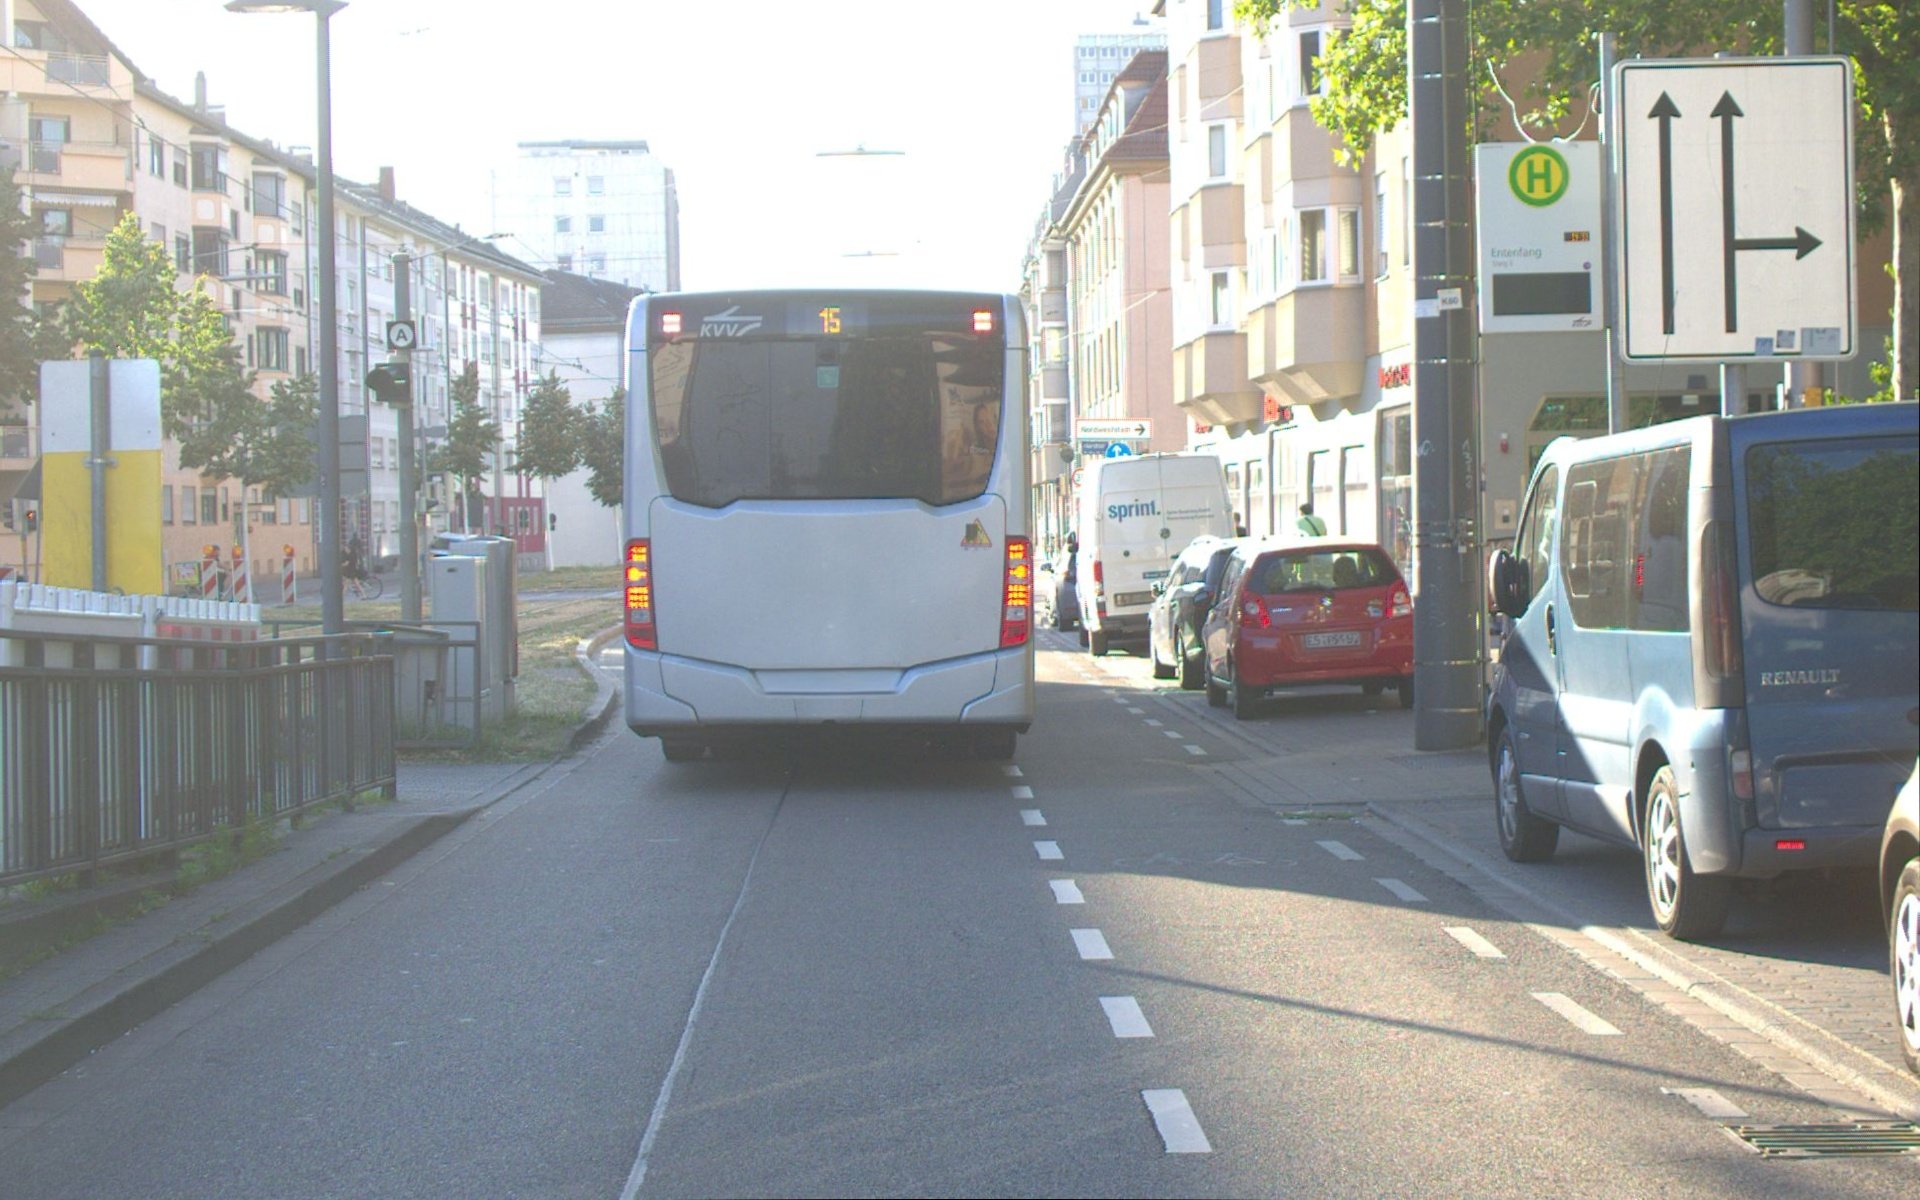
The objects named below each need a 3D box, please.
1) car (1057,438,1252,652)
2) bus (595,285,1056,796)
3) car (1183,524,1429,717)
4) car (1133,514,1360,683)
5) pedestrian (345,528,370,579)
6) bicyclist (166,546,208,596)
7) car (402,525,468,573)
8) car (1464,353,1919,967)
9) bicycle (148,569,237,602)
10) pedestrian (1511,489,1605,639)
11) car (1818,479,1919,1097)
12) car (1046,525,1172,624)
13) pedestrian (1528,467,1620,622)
[{"bbox_3d":[2.540,-0.750,46.277,2.017,2.542,5.785,-5,1,-1],"label":"car"},{"bbox_3d":[-0.864,-0.447,24.985,2.738,3.045,8.854,0,1,-1],"label":"bus"},{"bbox_3d":[2.936,0.130,29.834,1.569,1.489,3.626,-3,1,-2],"label":"car"},{"bbox_3d":[2.897,-0.059,35.703,1.696,1.525,4.653,-4,1,-2],"label":"car"},{"bbox_3d":[-24.067,-1.846,137.329,0.887,2.007,0.789,-1,1,-7],"label":"pedestrian"},{"bbox_3d":[-18.528,-0.702,82.399,0.932,1.157,0.644,-2,1,-12],"label":"bicyclist"},{"bbox_3d":[-22.875,-2.247,149.998,1.994,2.007,4.000,-1,1,3],"label":"car"},{"bbox_3d":[3.373,0.146,13.971,1.884,2.071,4.563,-1,1,-1],"label":"car"},{"bbox_3d":[-18.398,-0.357,82.427,2.062,0.730,0.763,-1,1,-11],"label":"bicycle"},{"bbox_3d":[6.746,-0.416,38.827,0.659,1.631,0.990,-5,2,-8],"label":"pedestrian"},{"bbox_3d":[3.420,0.499,7.958,1.795,1.625,4.000,-1,1,-1],"label":"car"},{"bbox_3d":[2.453,-0.456,57.392,1.838,1.531,4.230,-1,1,-1],"label":"car"},{"bbox_3d":[7.193,-0.659,40.307,0.806,1.745,0.768,-4,2,-1],"label":"pedestrian"}]
